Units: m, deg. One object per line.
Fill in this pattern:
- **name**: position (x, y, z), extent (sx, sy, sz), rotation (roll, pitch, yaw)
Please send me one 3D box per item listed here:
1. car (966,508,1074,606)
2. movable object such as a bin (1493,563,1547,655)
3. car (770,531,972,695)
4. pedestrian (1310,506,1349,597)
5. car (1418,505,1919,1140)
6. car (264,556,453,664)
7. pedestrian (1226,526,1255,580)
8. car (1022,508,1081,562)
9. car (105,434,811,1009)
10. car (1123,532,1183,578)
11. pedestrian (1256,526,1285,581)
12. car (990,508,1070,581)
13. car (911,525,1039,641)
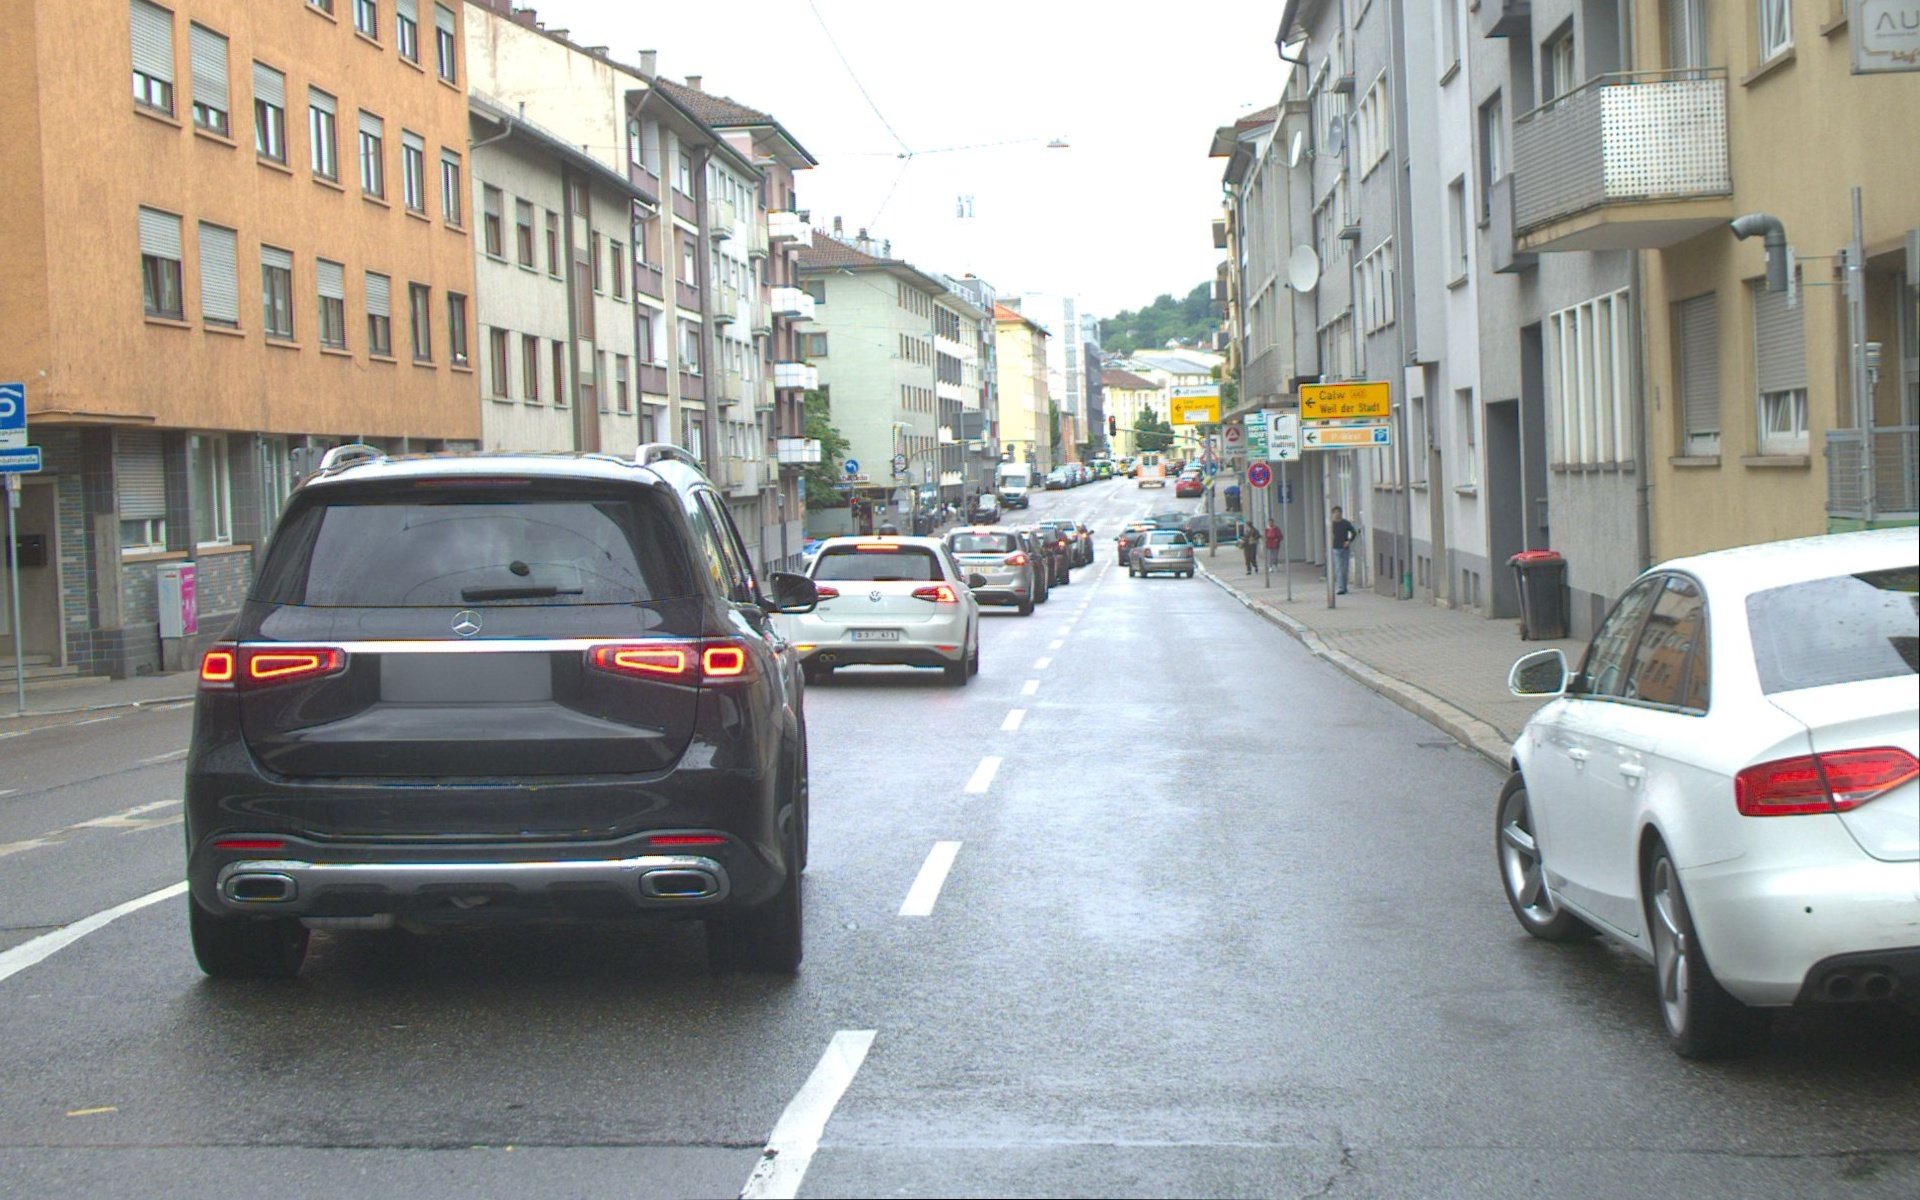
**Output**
- **car**: position (1.283, -0.929, 72.003), extent (1.994, 2.007, 4.000), rotation (0, 1, 5)
- **movable object such as a bin**: position (6.129, 0.093, 37.641), extent (0.473, 0.959, 0.564), rotation (-4, 1, 4)
- **car**: position (-0.843, 0.080, 34.824), extent (1.893, 1.505, 4.174), rotation (1, 1, 0)
- **pedestrian**: position (7.301, -0.967, 67.965), extent (0.655, 1.746, 0.741), rotation (-3, 1, 8)
- **car**: position (2.762, 0.495, 10.898), extent (1.893, 1.398, 4.609), rotation (-6, 1, 1)
- **car**: position (-8.727, 0.107, 50.264), extent (1.891, 1.453, 4.549), rotation (0, 1, 1)
- **pedestrian**: position (8.098, -1.363, 99.351), extent (0.821, 1.560, 0.899), rotation (0, 1, 6)
- **car**: position (3.466, -2.453, 129.285), extent (1.994, 2.007, 4.000), rotation (0, 1, 5)
- **car**: position (-1.631, 0.301, 12.823), extent (2.076, 1.759, 4.612), rotation (0, 2, -2)
- **car**: position (5.944, -1.407, 106.355), extent (1.734, 1.383, 4.583), rotation (0, 1, 2)
- **pedestrian**: position (8.976, -1.344, 99.257), extent (0.821, 1.560, 0.899), rotation (0, 1, 6)
- **car**: position (2.000, -1.597, 97.335), extent (1.994, 2.007, 4.000), rotation (0, 1, 5)
- **car**: position (0.302, -0.344, 62.141), extent (1.994, 2.007, 4.000), rotation (0, 1, 5)
